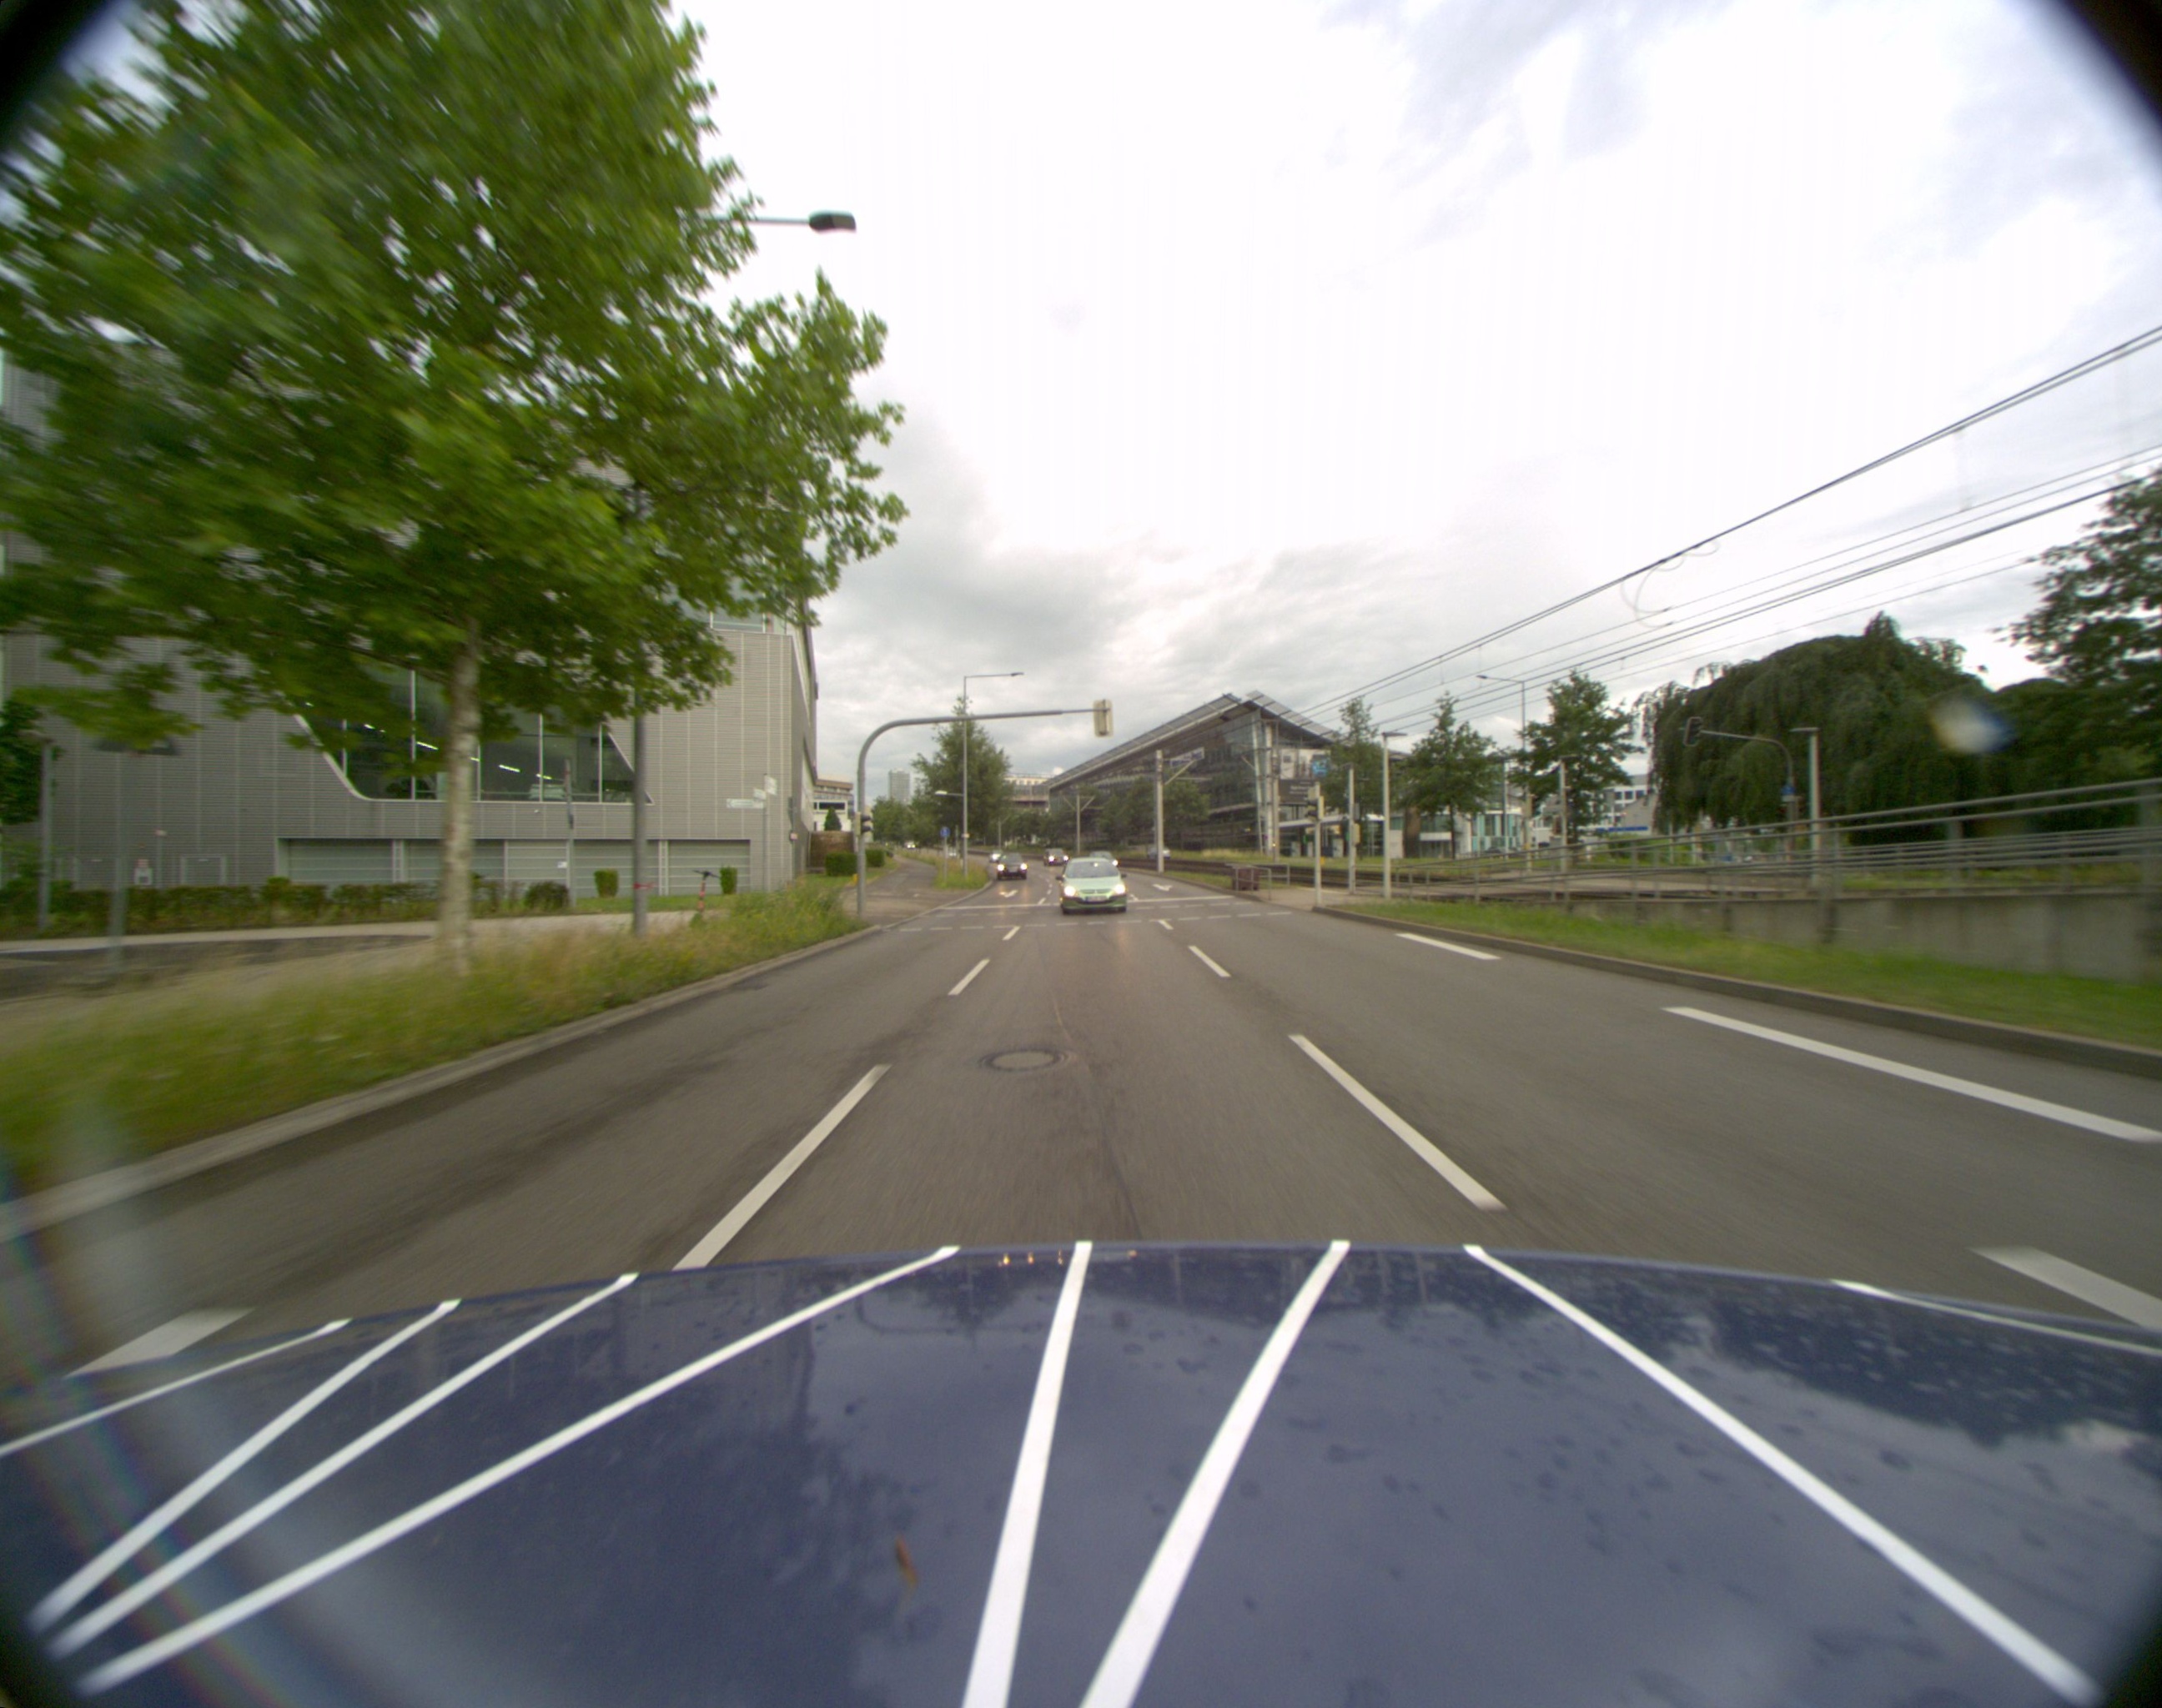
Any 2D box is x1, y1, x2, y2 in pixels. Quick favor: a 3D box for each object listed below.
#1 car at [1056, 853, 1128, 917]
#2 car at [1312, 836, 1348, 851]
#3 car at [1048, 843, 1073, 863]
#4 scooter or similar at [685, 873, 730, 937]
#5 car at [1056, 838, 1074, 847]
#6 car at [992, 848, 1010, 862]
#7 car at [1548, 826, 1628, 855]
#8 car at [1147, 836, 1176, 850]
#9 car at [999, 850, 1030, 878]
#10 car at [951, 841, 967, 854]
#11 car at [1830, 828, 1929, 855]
[{"bbox_3d":[0.237,0.806,21.718,1.829,1.500,4.112,-2,1,-1],"label":"car"},{"bbox_3d":[32.523,-1.384,99.250,1.898,1.841,3.988,-5,5,-44],"label":"car"},{"bbox_3d":[-1.982,-0.086,73.160,1.862,1.799,4.110,-2,1,-8],"label":"car"},{"bbox_3d":[-7.927,1.055,16.179,0.459,1.256,1.336,1,1,-8],"label":"scooter or similar"},{"bbox_3d":[-2.683,-1.895,126.392,1.890,1.512,4.396,2,1,-15],"label":"car"},{"bbox_3d":[-9.900,0.081,93.508,1.862,1.673,4.109,-1,0,-11],"label":"car"},{"bbox_3d":[32.462,-0.899,48.786,2.000,1.642,3.994,-3,3,-12],"label":"car"},{"bbox_3d":[9.981,-1.340,94.236,2.002,1.670,3.993,-3,2,-20],"label":"car"},{"bbox_3d":[-4.232,0.610,48.699,1.829,1.599,4.112,-2,1,-4],"label":"car"},{"bbox_3d":[-17.924,-0.976,111.062,1.863,1.799,4.108,-2,1,-15],"label":"car"},{"bbox_3d":[47.973,-0.759,45.710,2.003,1.502,3.988,-5,4,-42],"label":"car"}]
